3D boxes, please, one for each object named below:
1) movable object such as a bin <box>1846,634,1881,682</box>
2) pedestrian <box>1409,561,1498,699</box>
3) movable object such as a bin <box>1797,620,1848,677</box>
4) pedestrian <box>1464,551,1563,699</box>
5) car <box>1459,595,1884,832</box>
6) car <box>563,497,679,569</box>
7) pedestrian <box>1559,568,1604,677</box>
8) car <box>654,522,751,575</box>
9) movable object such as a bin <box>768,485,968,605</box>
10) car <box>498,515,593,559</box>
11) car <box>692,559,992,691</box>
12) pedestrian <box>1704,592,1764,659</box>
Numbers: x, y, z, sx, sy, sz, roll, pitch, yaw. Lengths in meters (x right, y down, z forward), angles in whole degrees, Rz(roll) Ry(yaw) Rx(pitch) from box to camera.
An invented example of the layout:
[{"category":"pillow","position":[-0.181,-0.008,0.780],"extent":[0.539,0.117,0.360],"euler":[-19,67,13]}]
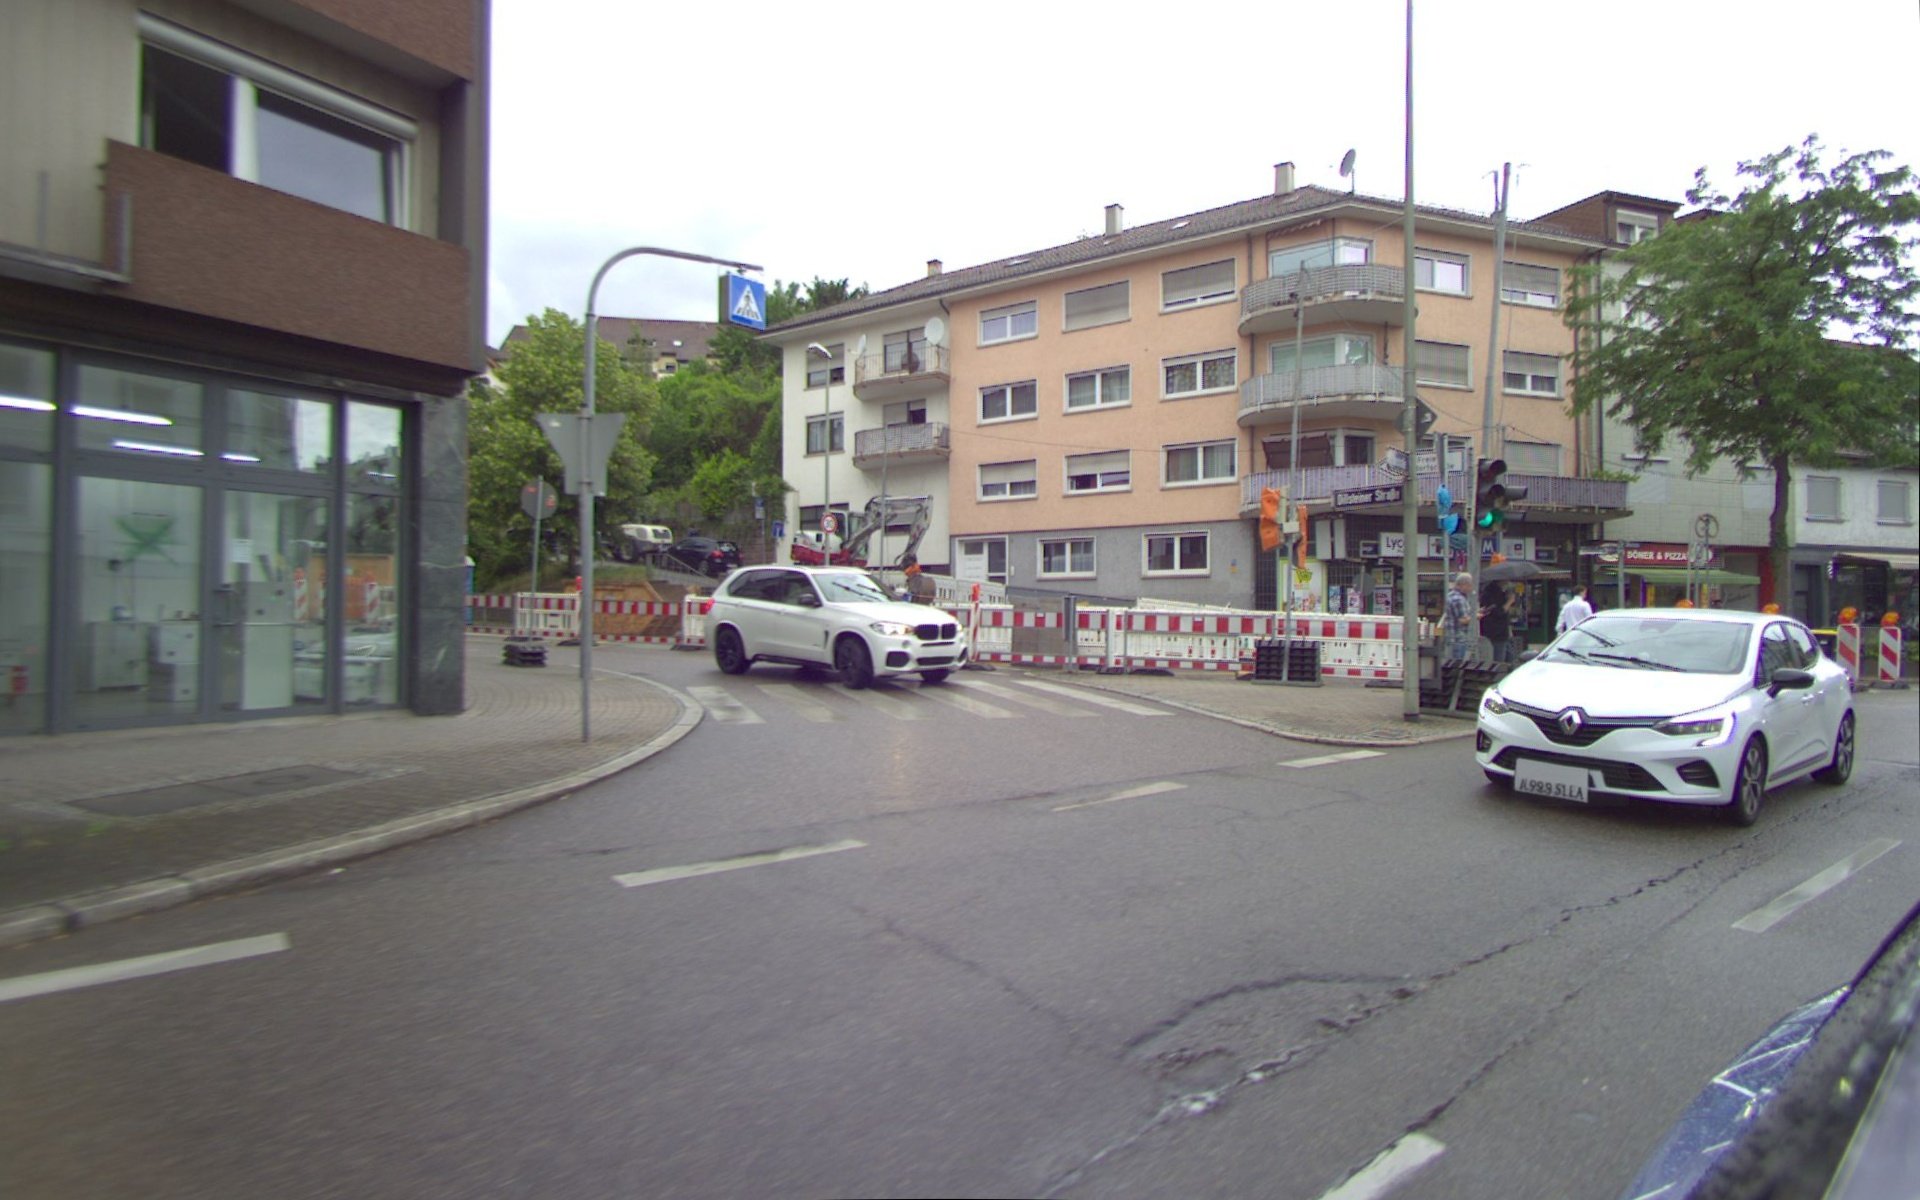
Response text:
[{"category":"movable object such as a bin","position":[18.234,1.163,20.417],"extent":[0.521,0.941,0.421],"euler":[2,-1,-36]},{"category":"pedestrian","position":[6.326,0.363,13.005],"extent":[0.807,1.709,0.793],"euler":[-1,1,7]},{"category":"movable object such as a bin","position":[16.557,0.922,19.430],"extent":[0.521,1.044,0.622],"euler":[2,-1,-36]},{"category":"pedestrian","position":[7.385,0.305,13.549],"extent":[0.906,1.884,1.027],"euler":[0,1,14]},{"category":"car","position":[5.791,0.688,8.078],"extent":[3.926,1.421,1.681],"euler":[0,1,-38]},{"category":"car","position":[-14.956,-2.975,44.548],"extent":[5.062,2.647,1.869],"euler":[8,3,32]},{"category":"pedestrian","position":[11.158,0.387,18.193],"extent":[0.652,1.903,0.983],"euler":[0,0,30]},{"category":"car","position":[-10.413,-2.092,40.903],"extent":[3.699,1.745,1.740],"euler":[8,4,36]},{"category":"movable object such as a bin","position":[-3.289,-1.947,35.202],"extent":[6.495,3.681,2.709],"euler":[6,2,34]},{"category":"car","position":[-19.531,-2.997,47.625],"extent":[4.517,1.584,1.867],"euler":[8,4,34]},{"category":"car","position":[-1.967,0.258,15.790],"extent":[4.778,1.742,1.971],"euler":[2,2,41]},{"category":"pedestrian","position":[21.710,0.705,28.411],"extent":[0.888,1.814,0.972],"euler":[0,2,-5]}]
